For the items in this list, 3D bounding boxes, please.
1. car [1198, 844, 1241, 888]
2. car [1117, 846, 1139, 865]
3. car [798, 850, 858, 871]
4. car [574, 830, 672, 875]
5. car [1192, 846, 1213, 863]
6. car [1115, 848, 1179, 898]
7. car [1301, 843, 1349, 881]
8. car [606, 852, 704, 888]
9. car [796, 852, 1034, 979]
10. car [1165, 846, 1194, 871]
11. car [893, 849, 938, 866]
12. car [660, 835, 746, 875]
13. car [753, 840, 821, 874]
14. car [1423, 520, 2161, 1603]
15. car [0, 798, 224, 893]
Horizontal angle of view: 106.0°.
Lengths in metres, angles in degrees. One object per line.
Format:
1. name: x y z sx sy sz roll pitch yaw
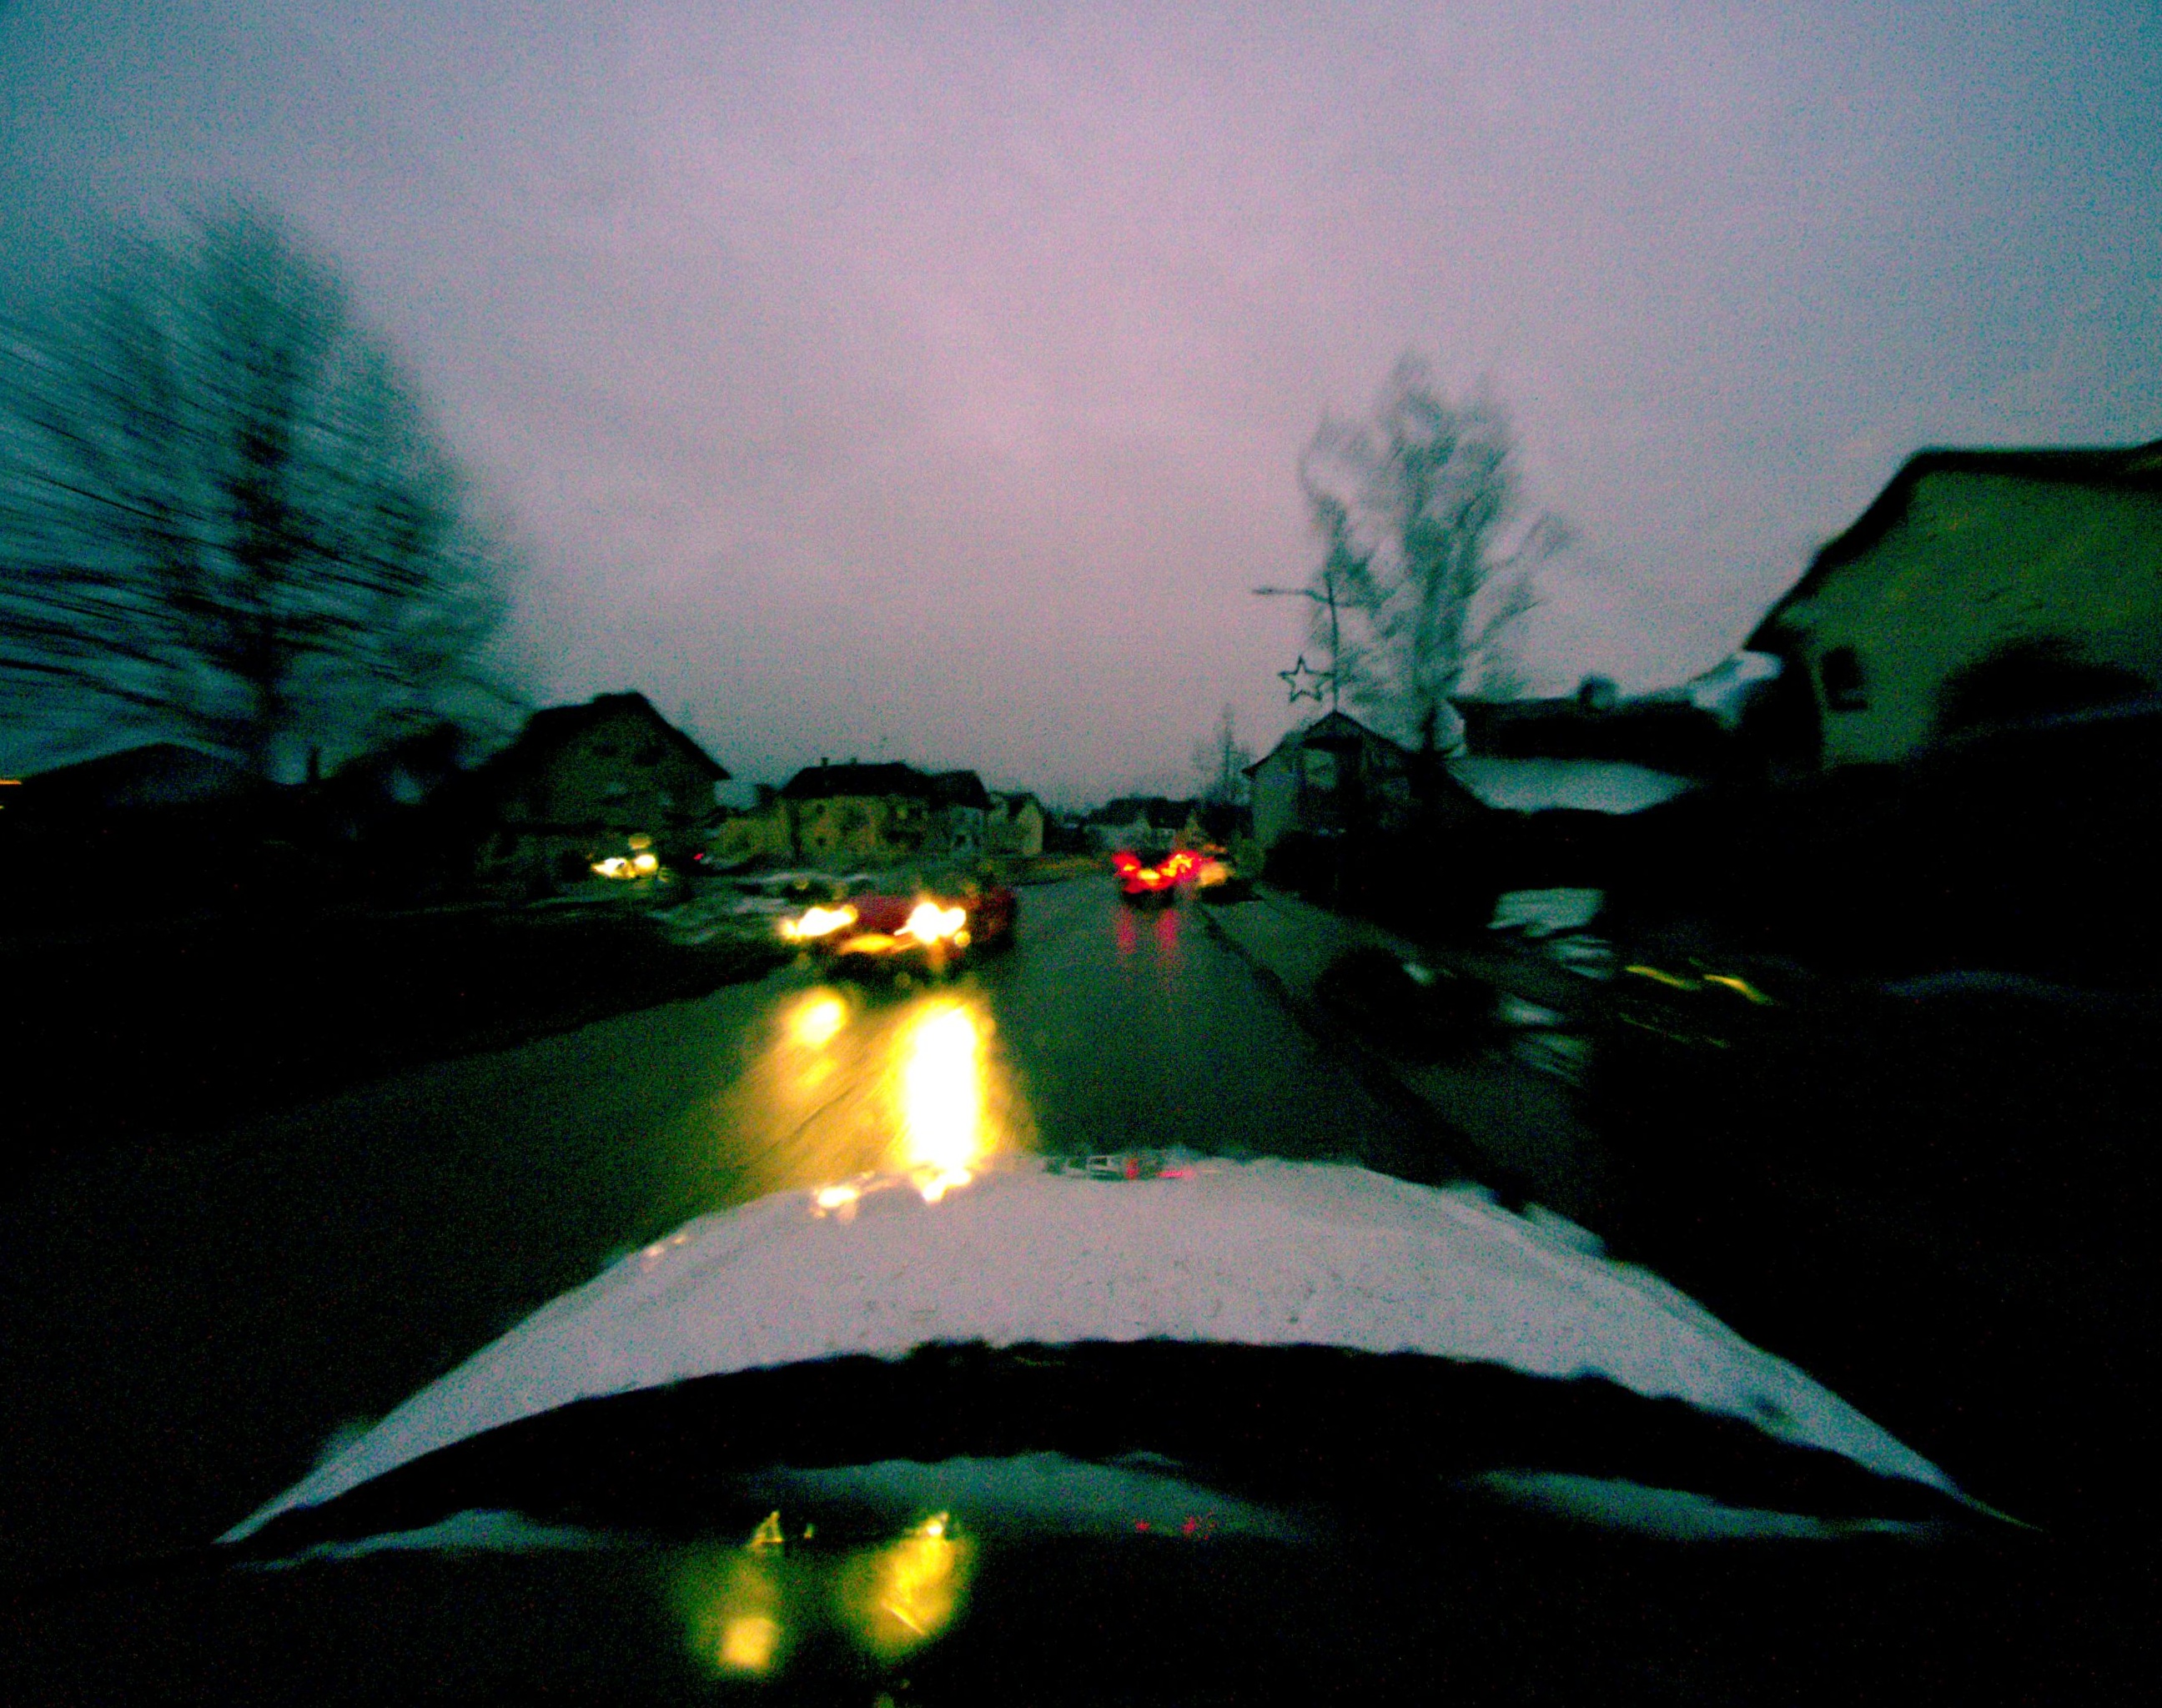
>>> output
1. car: 6.186 0.486 36.585 1.735 1.785 4.347 -2 0 9
2. car: 5.142 0.163 88.413 1.982 2.014 4.009 1 -1 8
3. car: -17.606 0.451 56.862 1.978 1.307 4.130 2 0 16
4. car: -22.118 -0.084 39.520 1.904 2.013 4.014 2 0 13
5. car: 14.470 0.093 97.021 1.979 2.014 4.015 1 -1 14
6. car: 2.218 0.610 27.297 1.984 1.525 4.005 1 0 5
7. car: 10.879 0.327 36.436 1.954 1.583 4.354 0 0 16
8. car: -18.678 0.643 35.899 1.380 1.437 4.349 2 1 11
9. car: -2.134 0.737 12.001 1.895 1.488 4.580 -1 0 9
10. car: 8.164 0.374 67.211 1.980 2.014 4.013 1 -1 12
11. car: -14.160 0.291 69.893 1.978 1.307 4.130 2 0 16
12. car: -20.597 0.049 44.575 1.980 2.013 4.238 2 0 13
13. car: -18.587 0.194 51.609 1.978 2.013 4.017 2 0 16
14. car: 2.989 0.366 1.933 1.970 2.013 5.746 -2 0 1
15. car: -19.737 -0.200 15.760 1.986 1.651 4.001 2 1 1
